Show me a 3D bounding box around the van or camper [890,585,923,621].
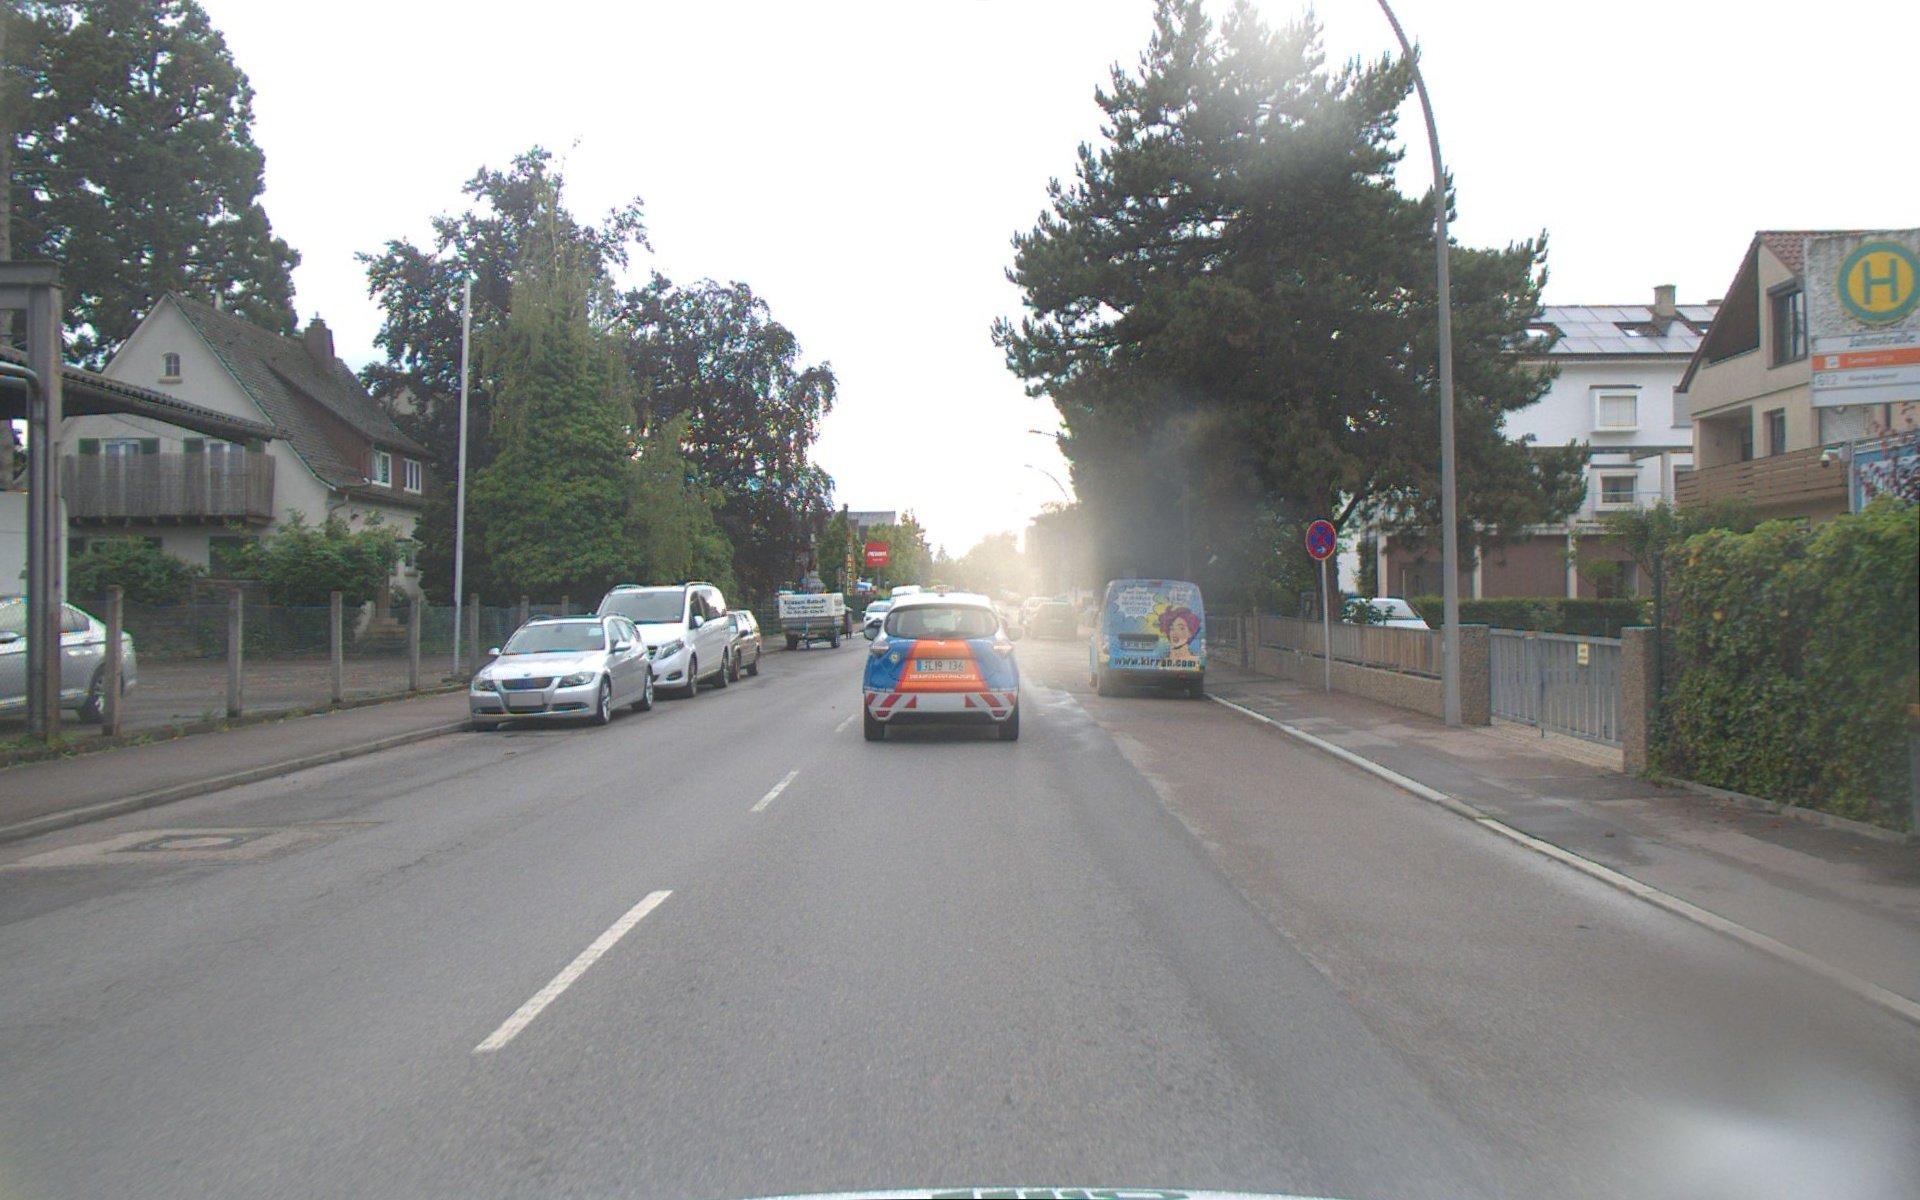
[{"bbox_3d":[-3.634,0.200,112.707,2.117,2.395,4.333,0,0,0],"label":"van or camper"}]

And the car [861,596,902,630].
[{"bbox_3d":[-4.111,0.702,87.319,1.953,1.624,3.999,2,-2,-1],"label":"car"}]

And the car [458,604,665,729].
[{"bbox_3d":[-5.345,0.911,22.741,1.706,1.506,4.184,-2,-2,1],"label":"car"}]

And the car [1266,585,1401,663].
[{"bbox_3d":[7.917,0.557,35.393,1.953,1.512,3.999,2,-2,0],"label":"car"}]

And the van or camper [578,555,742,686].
[{"bbox_3d":[-5.174,0.425,29.222,1.852,2.049,5.096,2,-2,0],"label":"van or camper"}]

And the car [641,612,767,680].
[{"bbox_3d":[-5.317,0.930,34.854,1.952,1.311,4.001,0,0,1],"label":"car"}]

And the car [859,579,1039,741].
[{"bbox_3d":[-0.157,0.619,19.083,1.850,1.660,3.999,0,0,-1],"label":"car"}]

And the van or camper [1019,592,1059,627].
[{"bbox_3d":[4.268,0.507,89.851,1.953,1.816,4.000,0,0,0],"label":"van or camper"}]

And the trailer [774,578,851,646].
[{"bbox_3d":[-4.896,0.448,55.470,2.175,2.049,4.435,2,-2,-1],"label":"trailer"}]

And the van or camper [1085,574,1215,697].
[{"bbox_3d":[3.119,0.556,27.862,1.718,1.916,4.000,0,0,0],"label":"van or camper"}]

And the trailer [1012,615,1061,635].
[{"bbox_3d":[3.211,1.044,69.880,1.899,0.767,2.859,0,0,0],"label":"trailer"}]

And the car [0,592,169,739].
[{"bbox_3d":[-10.577,0.663,17.631,1.896,1.469,4.782,1,-1,1],"label":"car"}]

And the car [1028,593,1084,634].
[{"bbox_3d":[3.763,0.528,65.157,1.953,1.563,4.000,0,0,0],"label":"car"}]

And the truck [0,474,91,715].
[{"bbox_3d":[-13.079,-0.122,19.493,2.345,2.978,5.957,2,-1,1],"label":"truck"}]

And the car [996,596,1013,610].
[{"bbox_3d":[5.388,0.349,202.795,1.953,1.613,4.000,0,0,0],"label":"car"}]

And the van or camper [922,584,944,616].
[{"bbox_3d":[-2.445,0.004,151.434,1.953,2.823,5.440,0,0,0],"label":"van or camper"}]
